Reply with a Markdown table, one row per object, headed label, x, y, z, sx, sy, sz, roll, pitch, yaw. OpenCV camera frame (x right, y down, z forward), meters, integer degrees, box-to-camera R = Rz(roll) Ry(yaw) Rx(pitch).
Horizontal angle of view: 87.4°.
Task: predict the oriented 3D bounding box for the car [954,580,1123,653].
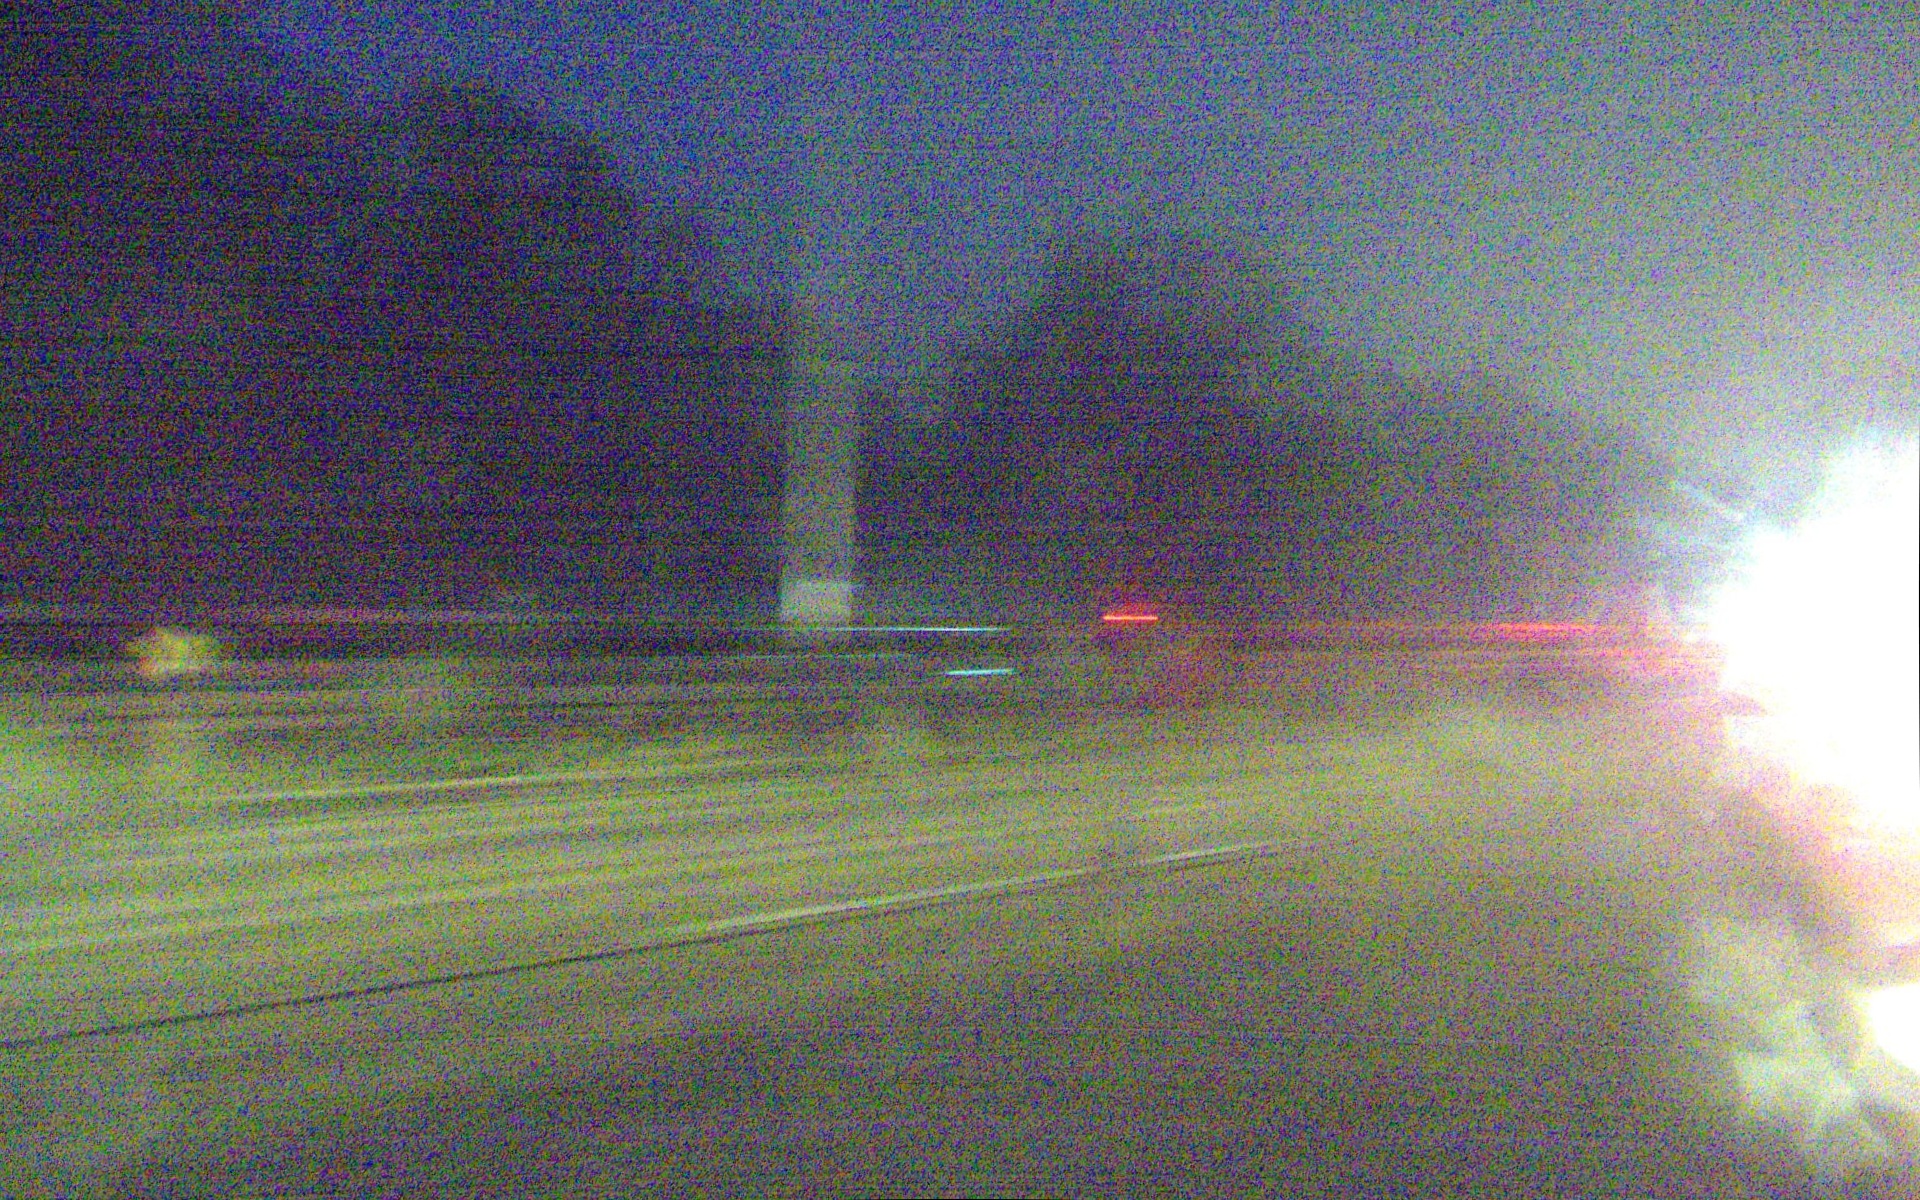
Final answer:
| label | x | y | z | sx | sy | sz | roll | pitch | yaw |
| --- | --- | --- | --- | --- | --- | --- | --- | --- | --- |
| car | 1.682 | 0.354 | 21.378 | 3.206 | 1.360 | 1.595 | 3 | 1 | -31 |

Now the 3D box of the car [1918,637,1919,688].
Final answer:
| label | x | y | z | sx | sy | sz | roll | pitch | yaw |
| --- | --- | --- | --- | --- | --- | --- | --- | --- | --- |
| car | 23.591 | 1.228 | 22.559 | 4.858 | 1.537 | 1.759 | 1 | 1 | -31 |
